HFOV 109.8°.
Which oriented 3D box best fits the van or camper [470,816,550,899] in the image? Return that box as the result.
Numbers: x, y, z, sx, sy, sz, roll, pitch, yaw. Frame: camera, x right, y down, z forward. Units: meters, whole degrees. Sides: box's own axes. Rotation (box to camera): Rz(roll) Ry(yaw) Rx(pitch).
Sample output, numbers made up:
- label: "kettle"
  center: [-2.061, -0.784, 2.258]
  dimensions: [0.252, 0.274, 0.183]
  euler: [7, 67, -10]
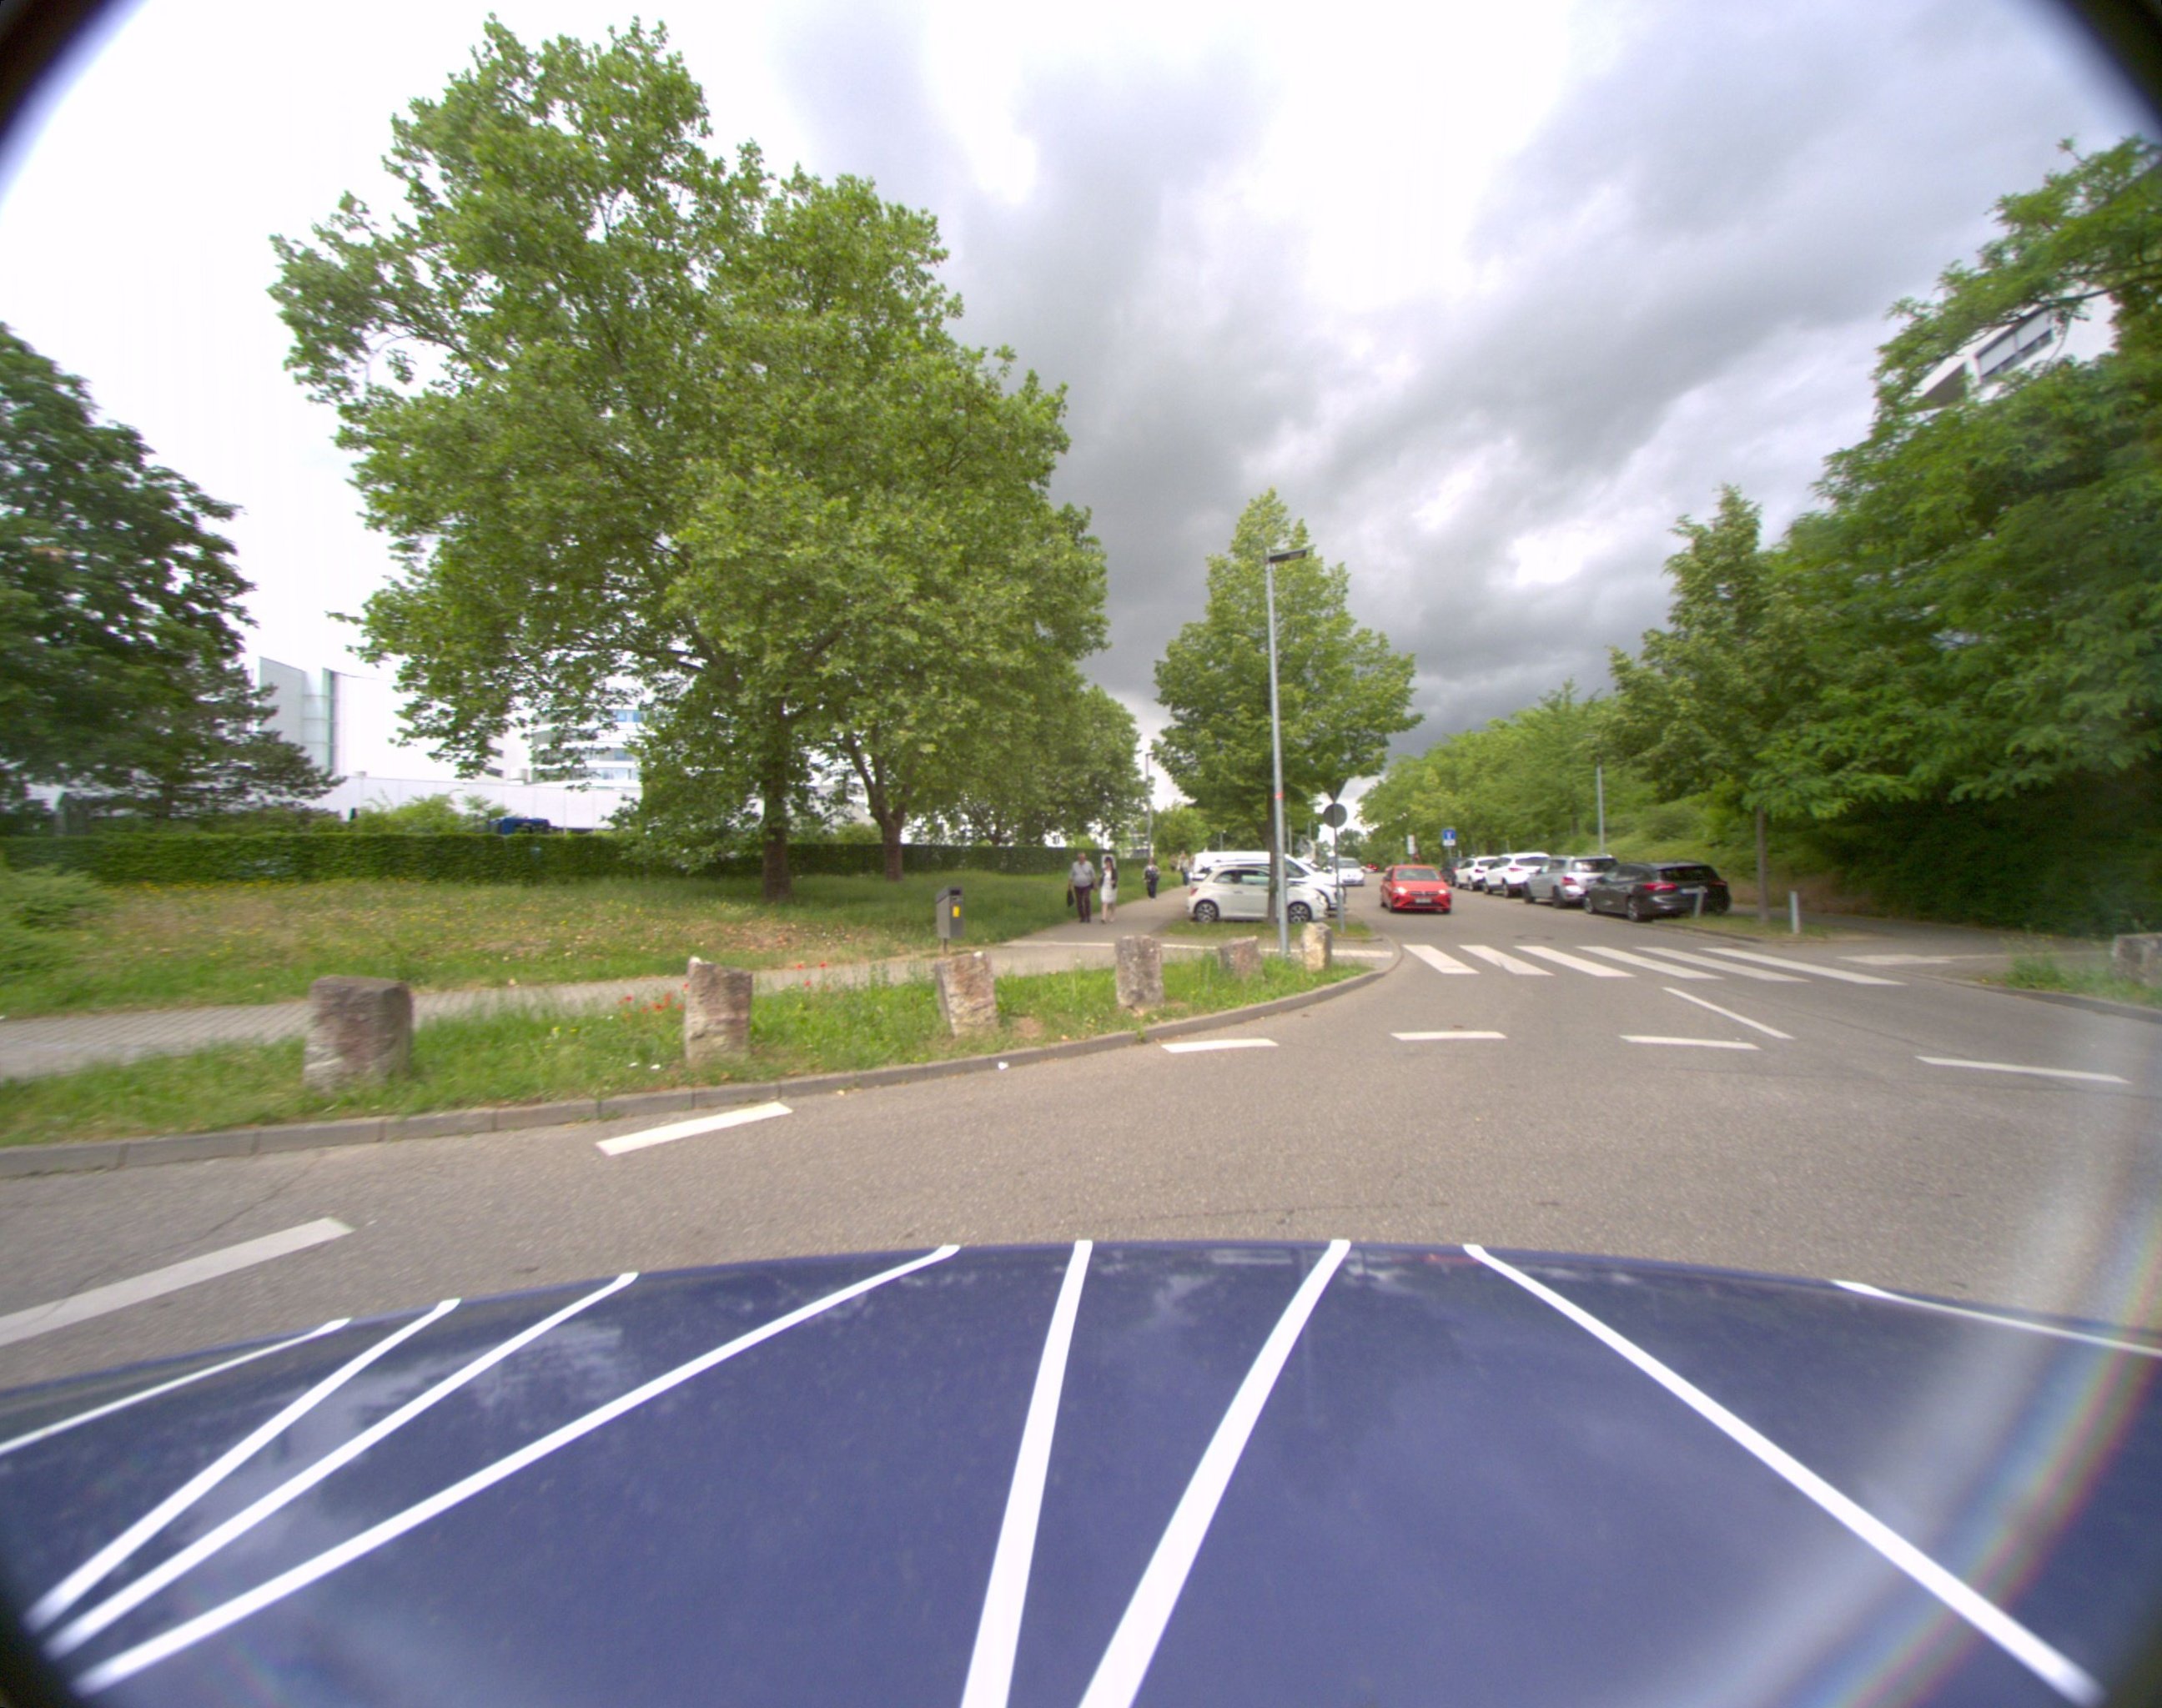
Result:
- label: "van or camper"
  center: [-20.854, 0.163, 27.662]
  dimensions: [2.119, 2.781, 4.468]
  euler: [-2, -1, -39]

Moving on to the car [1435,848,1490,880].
- label: "car"
  center: [20.101, 0.521, 40.179]
  dimensions: [1.692, 1.478, 3.958]
  euler: [-5, -1, 15]

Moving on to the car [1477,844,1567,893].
- label: "car"
  center: [17.197, 0.547, 29.878]
  dimensions: [1.810, 1.654, 4.442]
  euler: [-5, -1, 14]

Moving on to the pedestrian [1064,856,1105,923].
- label: "pedestrian"
  center: [0.097, 0.884, 19.210]
  dimensions: [0.870, 1.647, 0.593]
  euler: [-2, 0, 13]

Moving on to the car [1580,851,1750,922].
- label: "car"
  center: [14.448, 0.734, 19.135]
  dimensions: [1.692, 1.456, 4.461]
  euler: [-5, -1, 14]

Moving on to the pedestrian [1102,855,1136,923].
- label: "pedestrian"
  center: [0.952, 0.872, 18.920]
  dimensions: [0.690, 1.647, 0.600]
  euler: [-2, 0, 13]

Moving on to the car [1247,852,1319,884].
- label: "car"
  center: [10.847, 0.726, 40.744]
  dimensions: [3.674, 1.637, 1.854]
  euler: [0, 0, 16]

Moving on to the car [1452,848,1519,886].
- label: "car"
  center: [18.629, 0.575, 35.201]
  dimensions: [1.692, 1.502, 4.235]
  euler: [-5, -1, 14]

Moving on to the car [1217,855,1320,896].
- label: "car"
  center: [7.379, 0.813, 30.070]
  dimensions: [3.830, 1.511, 1.913]
  euler: [0, 1, 13]

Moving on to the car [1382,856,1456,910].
- label: "car"
  center: [10.564, 0.857, 23.990]
  dimensions: [1.756, 1.506, 4.006]
  euler: [-2, 0, 19]

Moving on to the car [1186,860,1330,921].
- label: "car"
  center: [4.645, 0.920, 19.996]
  dimensions: [3.516, 1.453, 1.741]
  euler: [1, 0, 14]

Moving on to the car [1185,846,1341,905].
- label: "car"
  center: [5.887, 0.655, 24.822]
  dimensions: [4.781, 1.821, 1.844]
  euler: [0, 1, 13]

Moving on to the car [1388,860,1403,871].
- label: "car"
  center: [45.067, 1.666, 108.873]
  dimensions: [1.756, 1.506, 4.006]
  euler: [-2, -1, 19]

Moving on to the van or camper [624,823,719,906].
- label: "van or camper"
  center: [-15.017, 0.393, 27.744]
  dimensions: [2.119, 2.781, 4.468]
  euler: [-2, -1, -40]

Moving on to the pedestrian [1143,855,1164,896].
- label: "pedestrian"
  center: [2.763, 0.809, 28.872]
  dimensions: [0.677, 1.510, 0.707]
  euler: [-2, 0, 12]

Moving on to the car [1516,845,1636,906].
- label: "car"
  center: [15.714, 0.614, 24.421]
  dimensions: [1.802, 1.606, 4.482]
  euler: [-5, 0, 14]

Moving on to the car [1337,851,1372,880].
- label: "car"
  center: [15.608, 0.632, 43.482]
  dimensions: [1.756, 1.506, 4.006]
  euler: [-2, -1, 19]

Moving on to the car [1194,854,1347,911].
- label: "car"
  center: [5.485, 0.798, 22.229]
  dimensions: [4.156, 1.593, 1.741]
  euler: [0, 0, 13]
